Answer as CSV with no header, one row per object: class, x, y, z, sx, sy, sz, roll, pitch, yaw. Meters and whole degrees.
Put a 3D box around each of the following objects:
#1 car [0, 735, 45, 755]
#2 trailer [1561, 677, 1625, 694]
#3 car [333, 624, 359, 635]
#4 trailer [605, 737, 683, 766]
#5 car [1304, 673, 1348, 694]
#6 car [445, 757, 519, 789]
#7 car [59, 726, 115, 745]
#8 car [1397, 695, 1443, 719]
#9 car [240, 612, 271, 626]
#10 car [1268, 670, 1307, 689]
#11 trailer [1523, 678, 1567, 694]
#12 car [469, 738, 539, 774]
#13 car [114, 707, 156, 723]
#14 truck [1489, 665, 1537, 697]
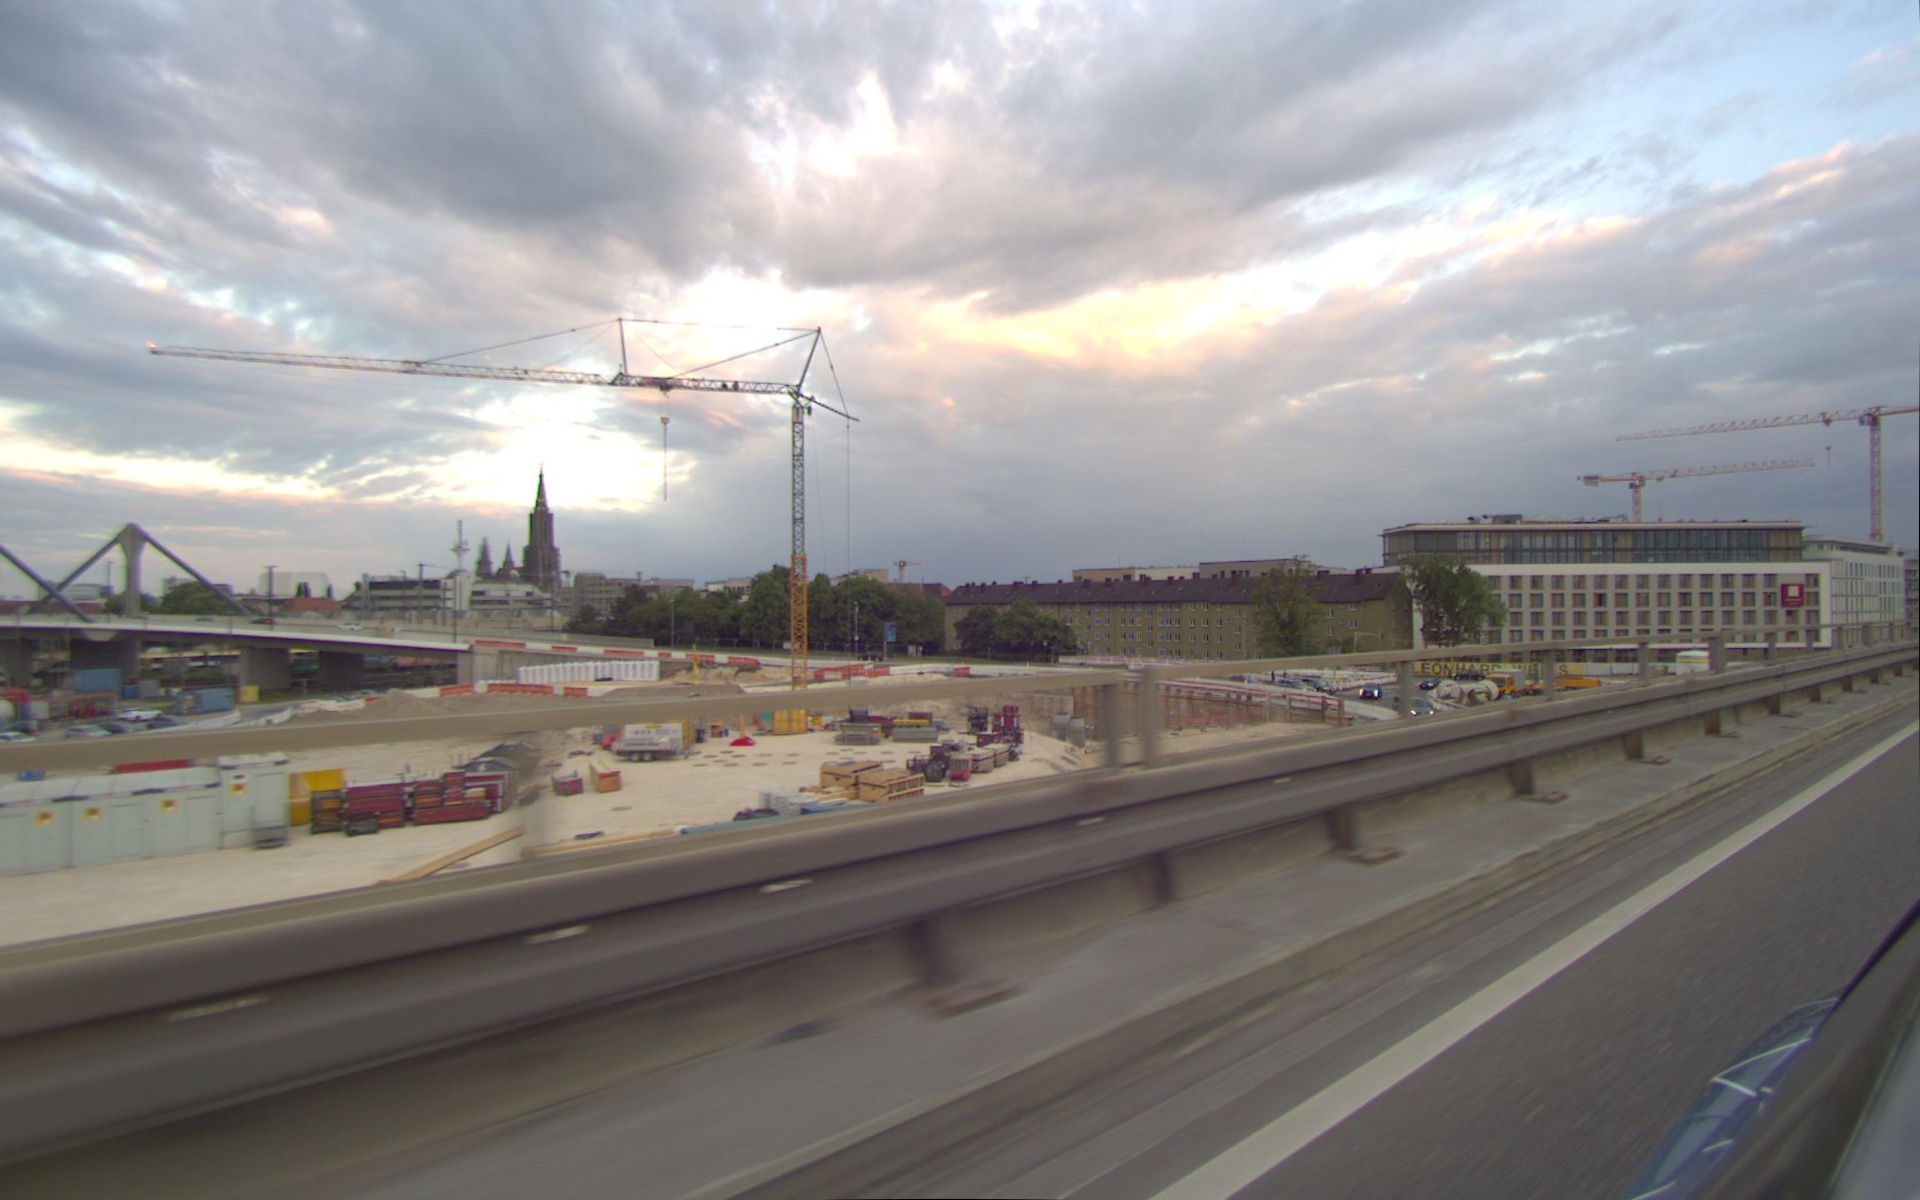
car,-85.531,13.130,91.643,4.278,1.540,1.864,-2,-1,13
trailer,68.618,9.234,109.709,5.830,1.365,2.003,0,0,33
car,-103.758,4.949,171.030,3.650,1.762,1.587,1,-4,14
trailer,-18.127,8.707,58.252,4.163,1.257,1.787,0,-2,-13
car,38.333,8.737,106.048,1.768,1.741,4.107,-3,1,-28
car,-28.145,10.176,59.669,3.718,1.461,1.530,-3,-5,-13
car,-83.800,13.025,97.151,4.278,1.540,1.864,-2,-1,13
car,37.982,8.848,83.744,1.966,1.903,5.077,-1,-5,7
car,-119.495,3.251,171.667,3.941,2.040,1.990,1,-4,14
car,33.581,8.132,103.840,1.611,1.761,3.800,-1,-1,-25
trailer,62.810,9.228,108.623,5.766,1.366,1.997,1,-7,-39
car,-30.035,10.274,66.815,3.917,1.948,1.687,-3,-5,-12
car,-93.062,12.914,114.187,1.414,1.597,3.674,-5,-5,7
truck,56.852,8.278,104.030,7.214,2.987,2.158,2,-4,-44
